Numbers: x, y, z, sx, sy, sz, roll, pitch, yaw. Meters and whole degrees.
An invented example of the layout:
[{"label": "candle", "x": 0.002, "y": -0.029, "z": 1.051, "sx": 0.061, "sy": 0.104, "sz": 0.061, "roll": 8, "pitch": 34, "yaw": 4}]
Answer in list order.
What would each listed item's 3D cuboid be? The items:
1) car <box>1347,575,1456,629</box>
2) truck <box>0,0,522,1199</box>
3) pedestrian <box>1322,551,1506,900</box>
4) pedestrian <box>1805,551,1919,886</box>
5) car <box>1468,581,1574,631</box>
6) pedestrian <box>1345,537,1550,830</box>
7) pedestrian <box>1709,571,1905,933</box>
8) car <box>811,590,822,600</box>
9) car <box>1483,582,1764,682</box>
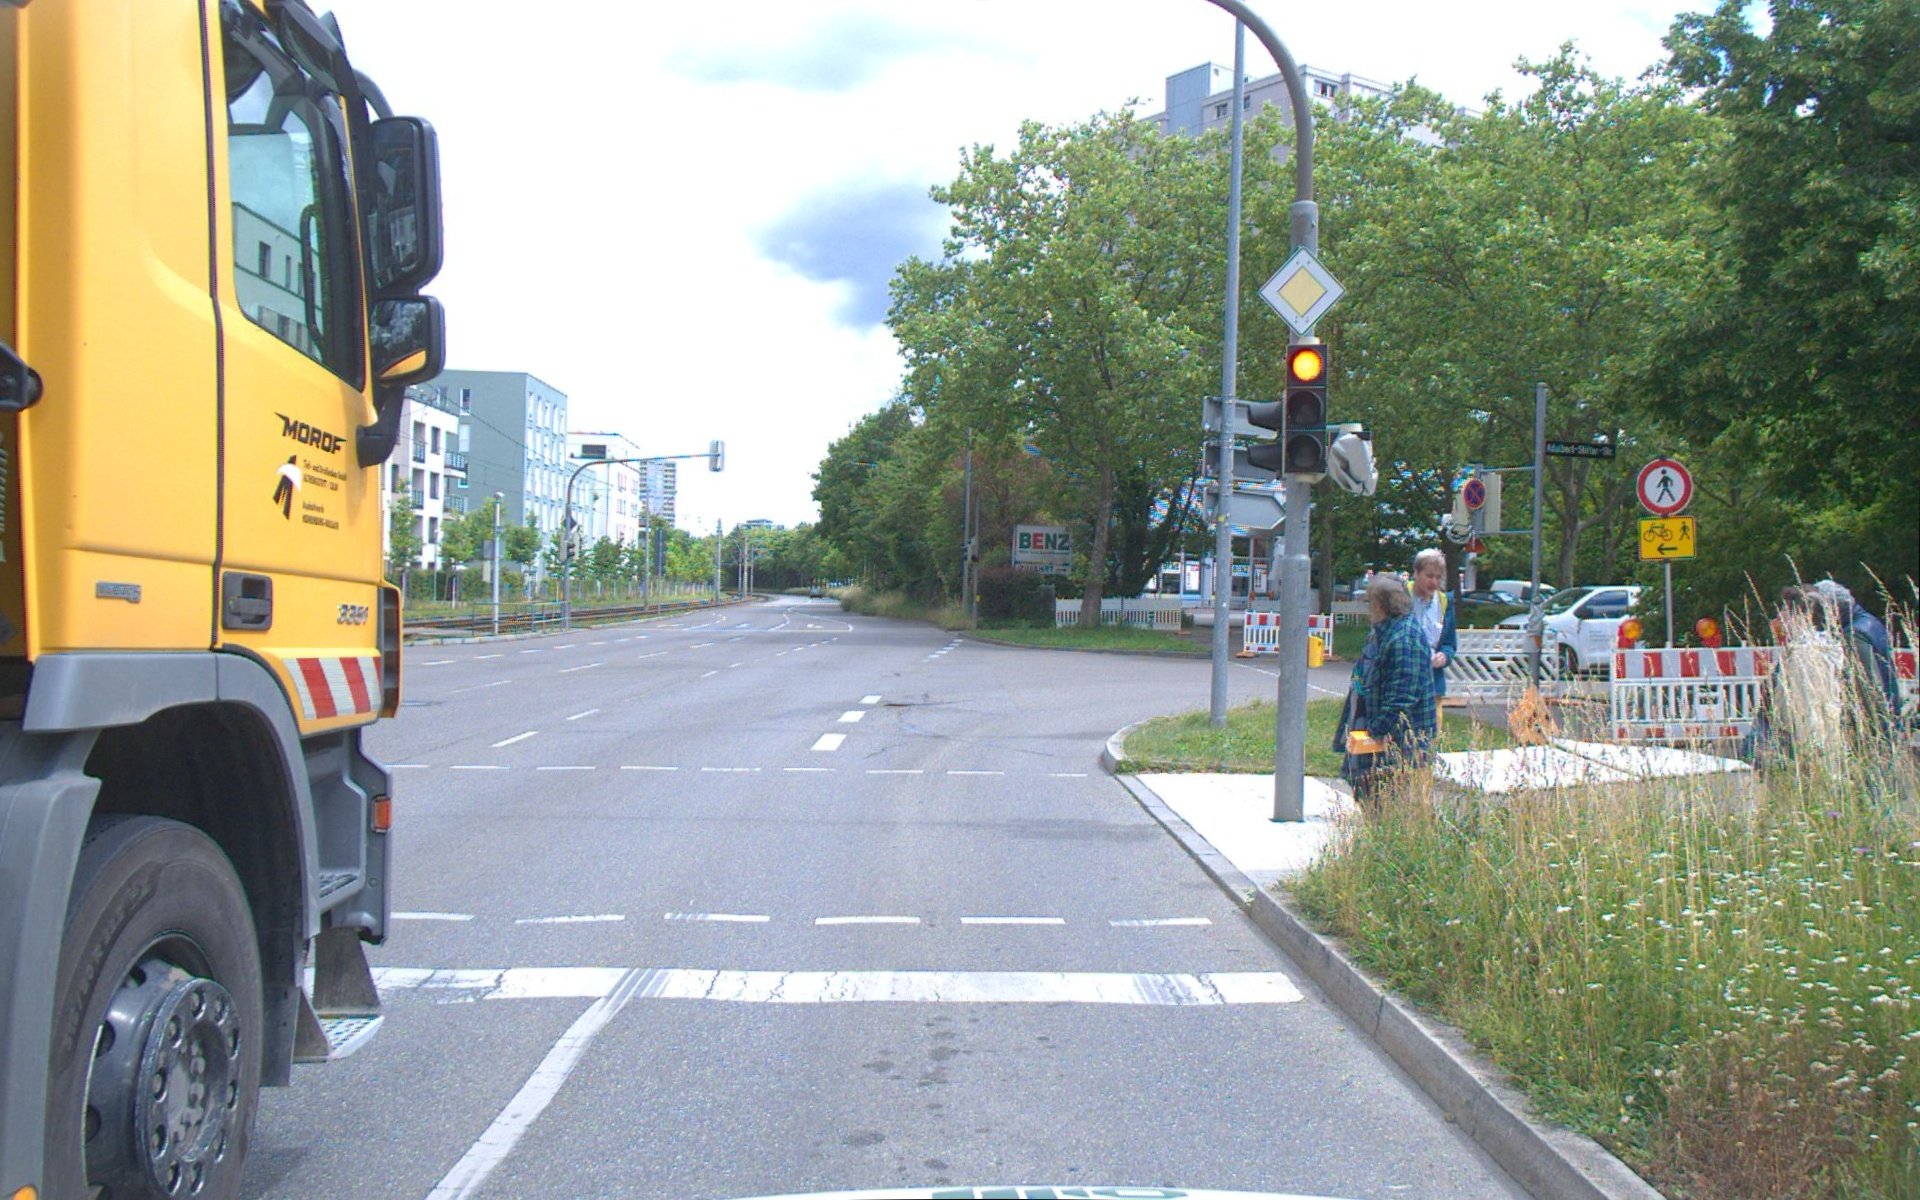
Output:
[{"label": "car", "x": 17.513, "y": 0.075, "z": 65.747, "sx": 1.974, "sy": 2.049, "sz": 3.957, "roll": 1, "pitch": 0, "yaw": -32}, {"label": "truck", "x": -2.643, "y": -0.321, "z": 0.739, "sx": 2.988, "sy": 3.453, "sz": 8.003, "roll": 1, "pitch": 0, "yaw": -2}, {"label": "pedestrian", "x": 2.317, "y": 0.613, "z": 8.524, "sx": 0.805, "sy": 1.700, "sz": 0.734, "roll": 1, "pitch": 0, "yaw": 8}, {"label": "pedestrian", "x": 4.902, "y": 0.588, "z": 8.581, "sx": 0.852, "sy": 1.663, "sz": 0.763, "roll": 1, "pitch": 0, "yaw": 32}, {"label": "car", "x": 23.923, "y": 0.240, "z": 70.618, "sx": 1.974, "sy": 2.049, "sz": 3.957, "roll": 1, "pitch": 0, "yaw": -32}, {"label": "pedestrian", "x": 3.135, "y": 0.515, "z": 10.732, "sx": 0.927, "sy": 1.805, "sz": 1.011, "roll": 1, "pitch": 0, "yaw": -8}, {"label": "pedestrian", "x": 4.189, "y": 0.698, "z": 8.165, "sx": 0.807, "sy": 1.668, "sz": 0.732, "roll": 1, "pitch": 0, "yaw": 31}, {"label": "car", "x": -21.837, "y": -0.782, "z": 251.436, "sx": 1.563, "sy": 1.378, "sz": 3.996, "roll": 1, "pitch": 0, "yaw": -5}, {"label": "car", "x": 13.434, "y": 0.641, "z": 33.659, "sx": 4.976, "sy": 1.906, "sz": 1.947, "roll": 1, "pitch": 0, "yaw": -5}]
